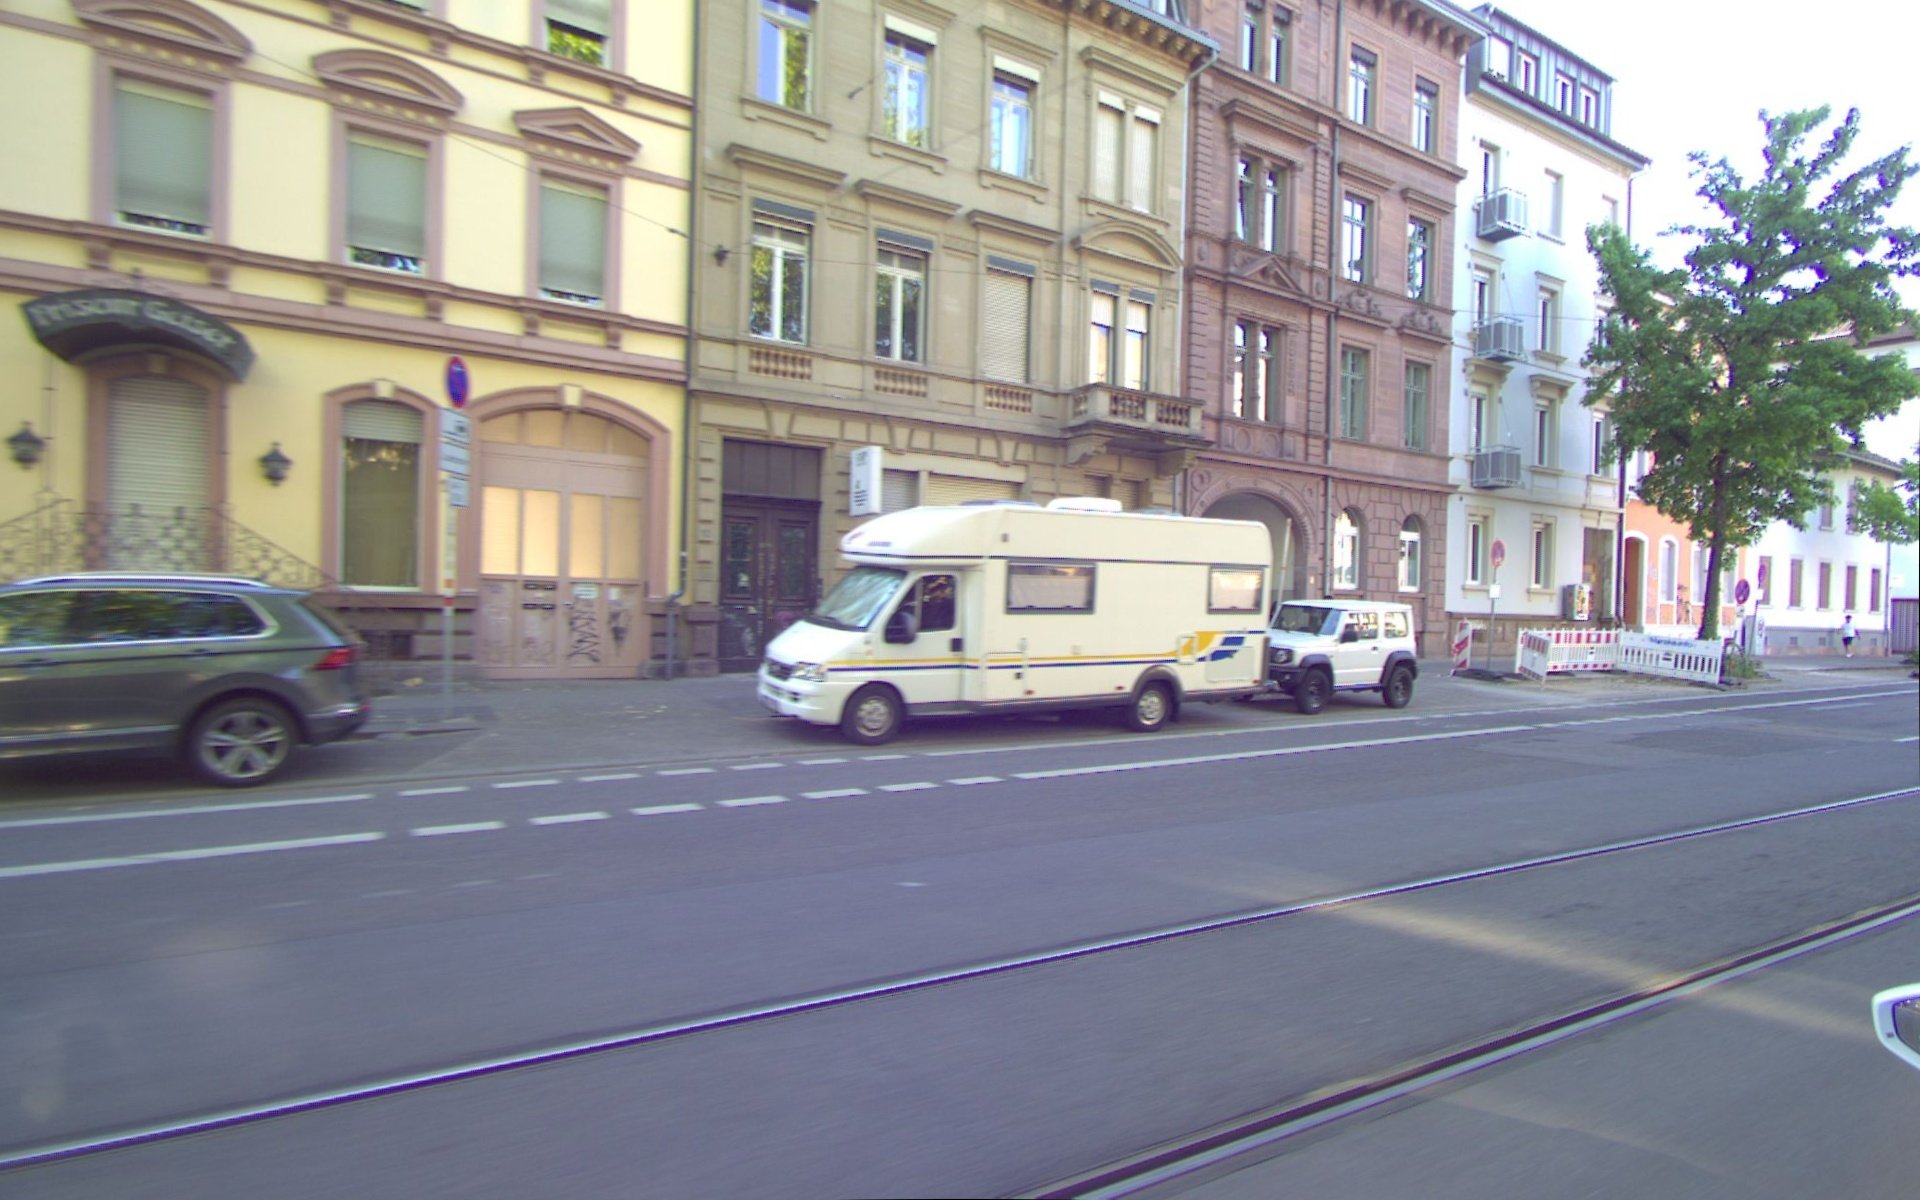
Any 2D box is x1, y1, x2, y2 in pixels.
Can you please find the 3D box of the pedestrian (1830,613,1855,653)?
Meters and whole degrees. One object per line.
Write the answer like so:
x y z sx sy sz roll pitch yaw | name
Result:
35.527 1.334 40.429 0.632 1.591 0.590 1 0 -33 | pedestrian

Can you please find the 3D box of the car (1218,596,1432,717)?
6.064 0.875 16.619 3.336 1.729 1.620 1 3 -34 | car

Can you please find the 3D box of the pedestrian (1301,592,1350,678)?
7.388 0.700 20.294 0.680 1.676 0.564 1 2 -32 | pedestrian

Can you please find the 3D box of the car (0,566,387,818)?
-7.174 0.649 8.069 4.394 1.728 1.800 1 3 -32 | car

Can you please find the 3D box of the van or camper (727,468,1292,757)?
0.842 0.133 13.213 7.165 2.987 2.407 1 3 -30 | van or camper

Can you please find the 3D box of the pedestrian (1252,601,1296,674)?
6.532 0.775 20.913 0.601 1.481 0.572 1 2 -32 | pedestrian
